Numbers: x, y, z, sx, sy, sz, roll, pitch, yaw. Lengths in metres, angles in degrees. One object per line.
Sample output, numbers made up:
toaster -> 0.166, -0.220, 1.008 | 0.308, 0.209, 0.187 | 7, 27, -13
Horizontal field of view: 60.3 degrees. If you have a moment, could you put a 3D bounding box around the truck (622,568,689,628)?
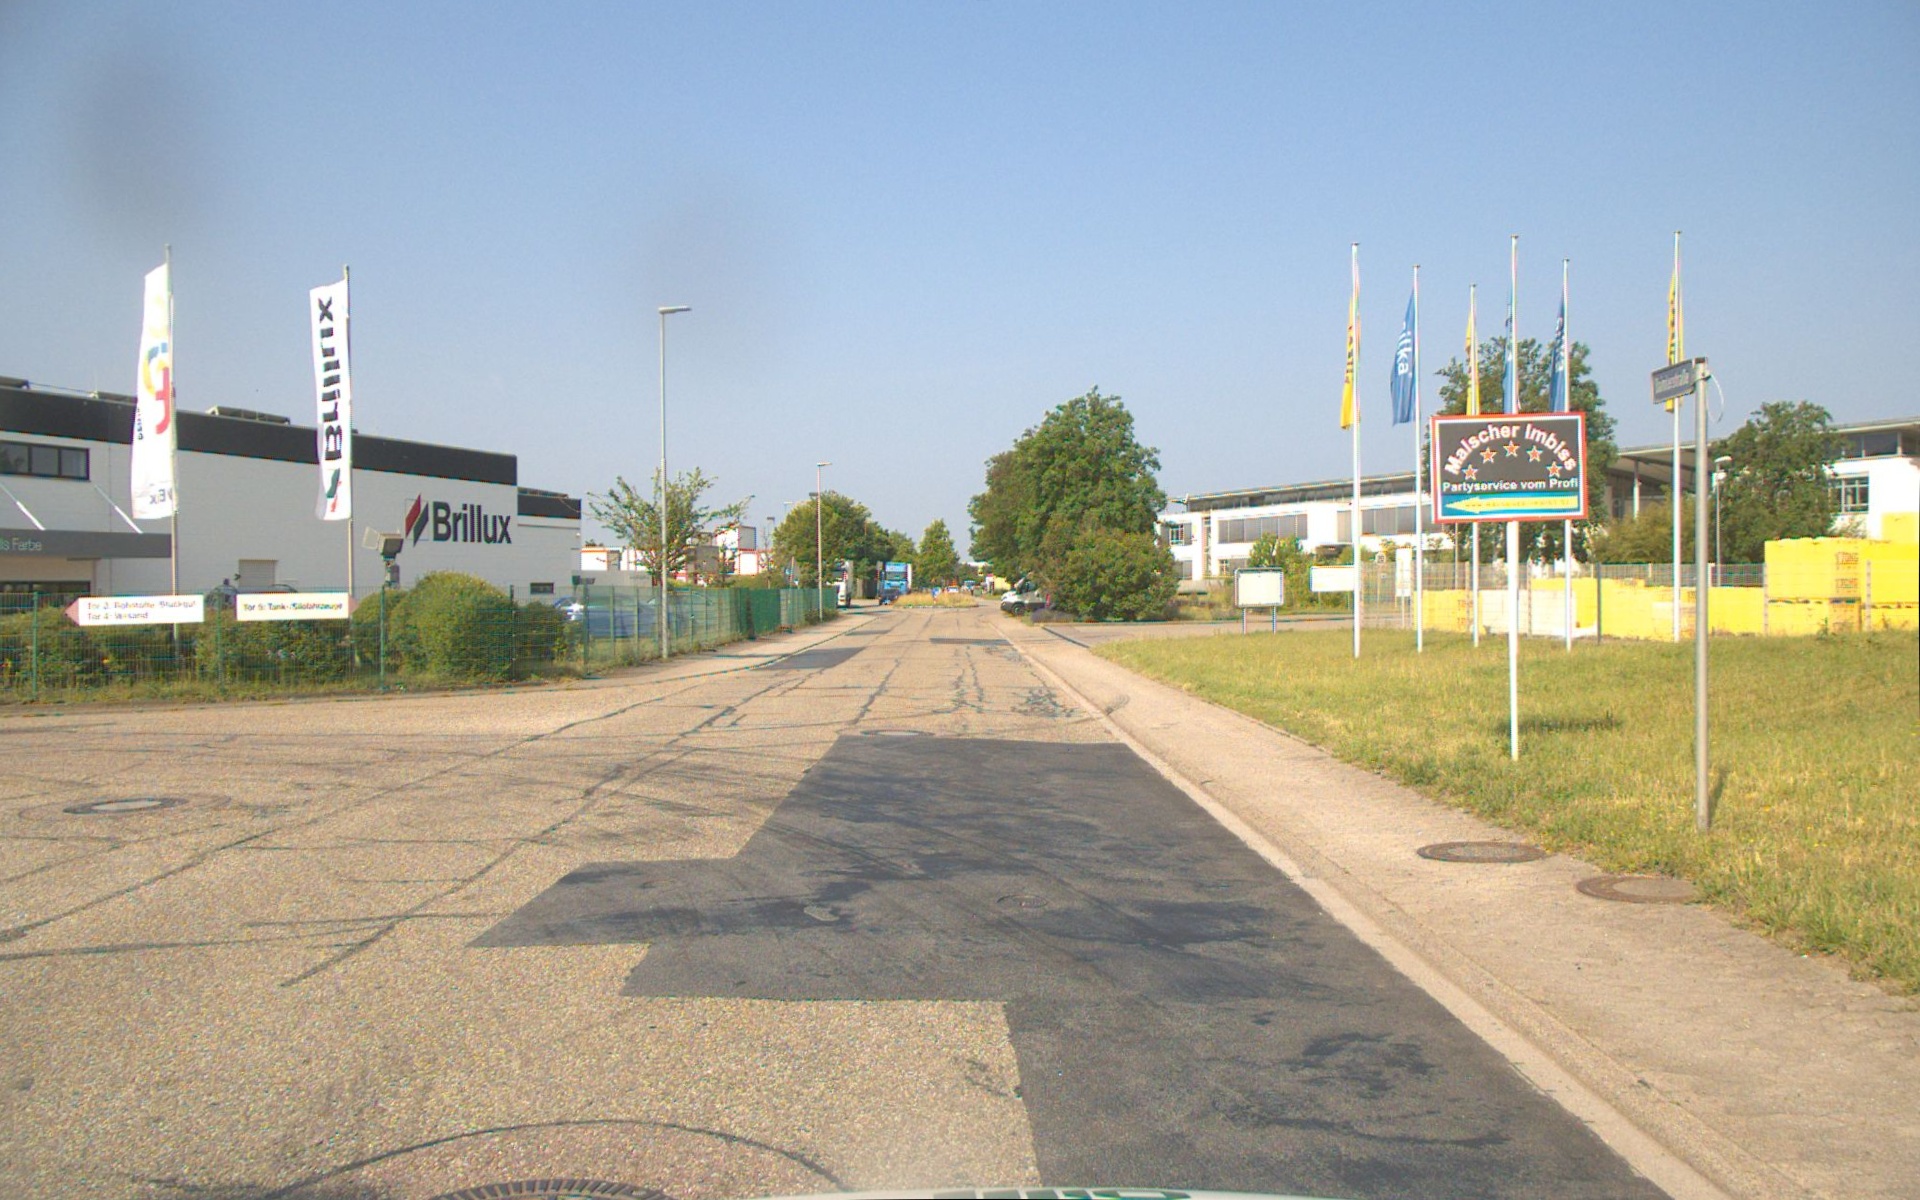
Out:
truck -> -21.498, -0.114, 116.979 | 2.459, 4.142, 5.547 | 1, -1, 14

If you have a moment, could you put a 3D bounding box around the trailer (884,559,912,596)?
trailer -> -6.977, -2.442, 187.991 | 2.773, 3.910, 12.033 | 1, 0, -1

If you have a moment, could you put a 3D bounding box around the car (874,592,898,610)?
car -> -6.483, 0.084, 145.640 | 1.954, 1.474, 4.418 | -3, 1, -2

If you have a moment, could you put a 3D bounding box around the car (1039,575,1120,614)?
car -> 5.999, -0.278, 83.474 | 3.905, 1.870, 2.000 | -1, 0, 1

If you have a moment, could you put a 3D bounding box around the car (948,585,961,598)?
car -> -0.833, -1.234, 241.967 | 1.683, 1.690, 3.822 | 1, 0, -2

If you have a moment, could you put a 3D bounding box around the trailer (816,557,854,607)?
trailer -> -10.365, -1.476, 137.959 | 2.645, 3.990, 7.573 | 1, 0, -1

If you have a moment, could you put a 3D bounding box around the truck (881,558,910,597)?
truck -> -6.892, -2.370, 177.954 | 2.768, 3.892, 9.670 | 1, 0, -1

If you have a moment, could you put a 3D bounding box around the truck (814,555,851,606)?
truck -> -10.292, -1.507, 133.563 | 2.654, 3.990, 4.295 | 1, -1, -1

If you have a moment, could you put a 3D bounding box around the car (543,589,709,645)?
car -> -10.076, 0.495, 50.192 | 4.591, 1.469, 2.078 | -3, 0, -1

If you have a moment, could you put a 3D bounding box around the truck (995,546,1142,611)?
truck -> 6.122, -1.212, 94.115 | 8.042, 3.429, 2.740 | -2, -1, -2

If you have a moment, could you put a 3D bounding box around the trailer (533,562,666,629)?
trailer -> -23.551, -0.213, 109.240 | 2.429, 4.112, 13.898 | 1, -1, 15

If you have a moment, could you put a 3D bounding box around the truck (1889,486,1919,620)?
truck -> 29.852, -1.374, 48.387 | 2.502, 3.944, 3.973 | 1, -1, -22
